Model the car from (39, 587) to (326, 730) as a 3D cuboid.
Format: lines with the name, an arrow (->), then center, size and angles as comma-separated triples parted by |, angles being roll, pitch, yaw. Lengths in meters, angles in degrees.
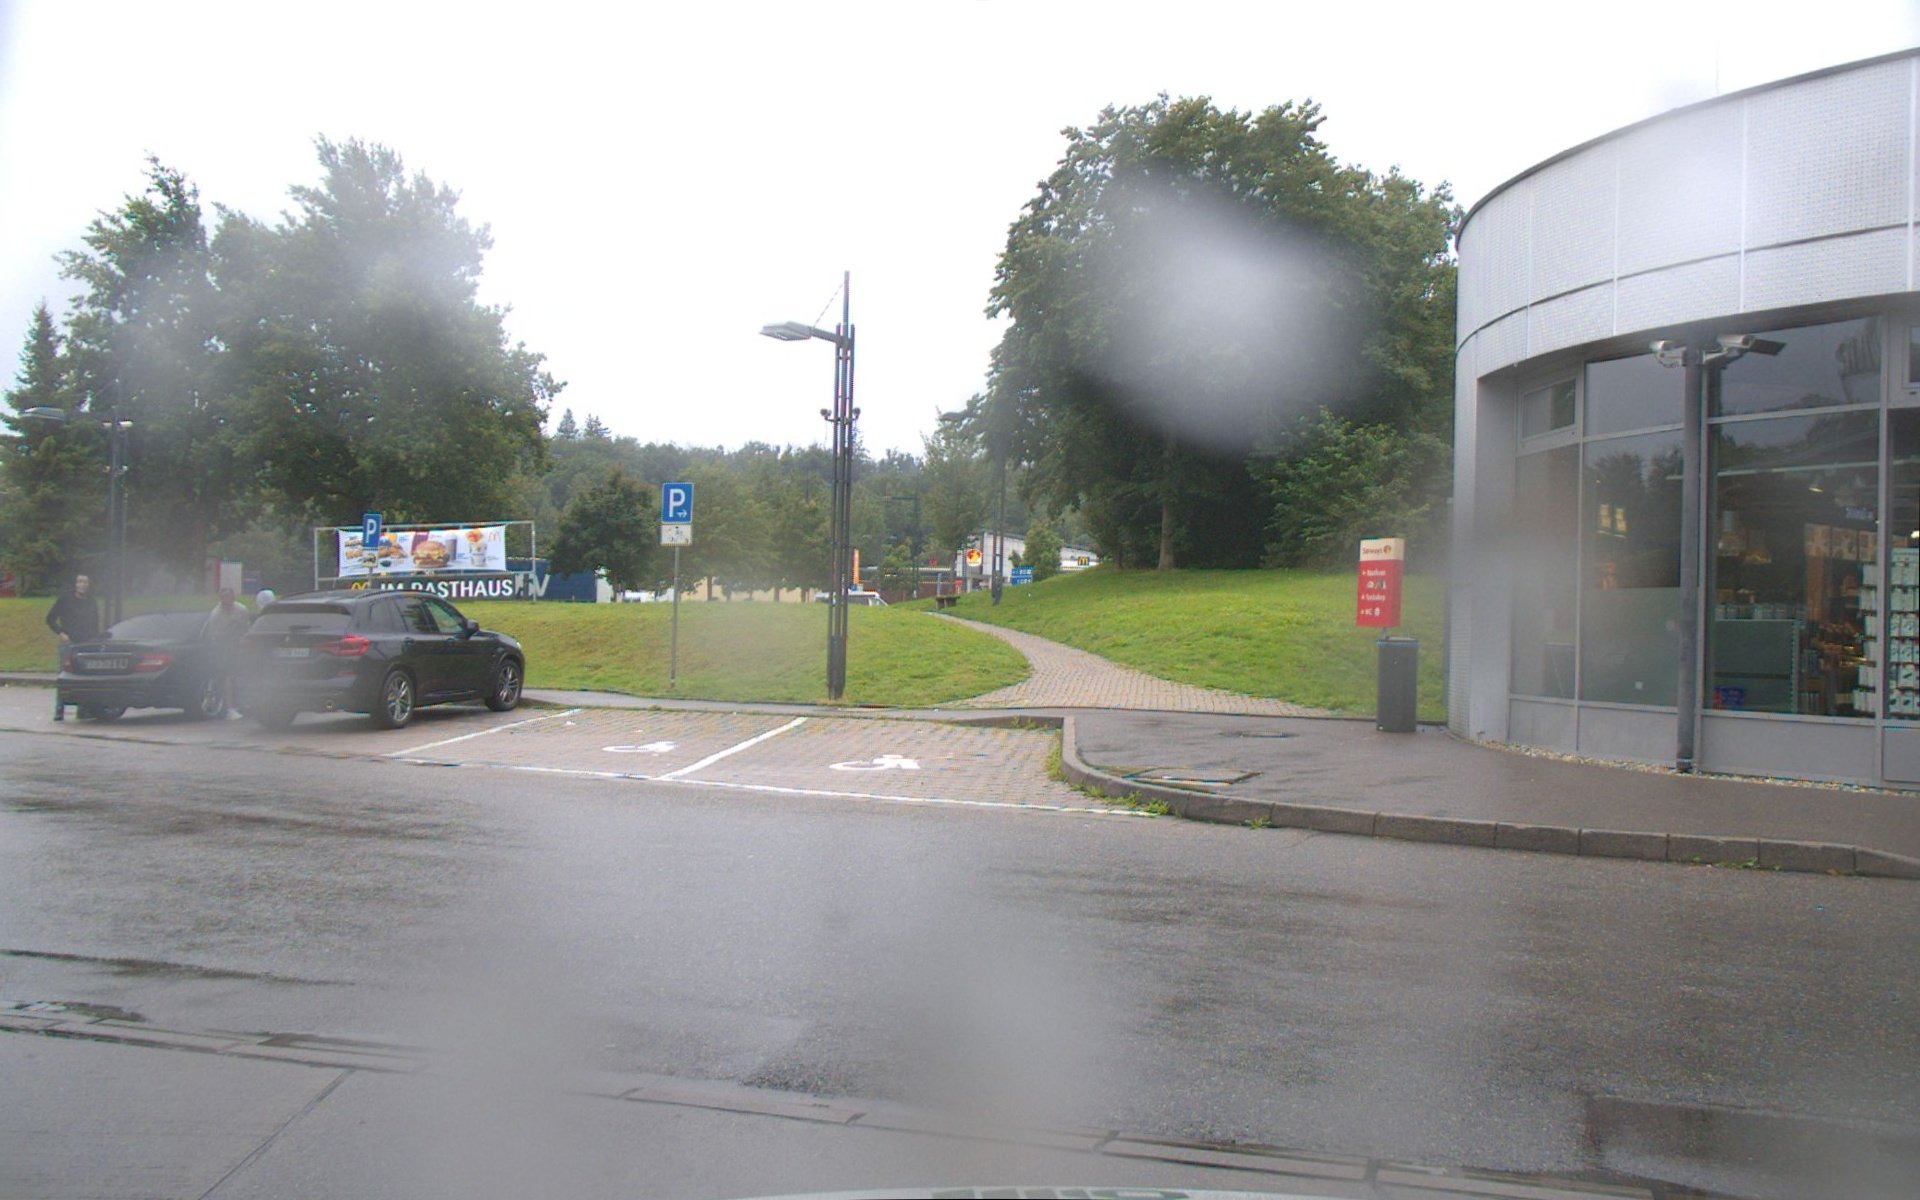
car -> -10.572, 0.718, 22.894 | 1.976, 1.741, 4.342 | -1, 1, -2

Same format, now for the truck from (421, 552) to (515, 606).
truck -> -27.972, -1.175, 94.261 | 2.142, 2.971, 5.384 | 1, 0, 24

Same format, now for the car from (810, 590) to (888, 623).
car -> -6.347, 0.374, 94.328 | 4.085, 1.814, 1.823 | 1, 0, -33

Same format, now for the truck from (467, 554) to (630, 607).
truck -> -24.921, -1.092, 101.276 | 2.142, 2.971, 13.092 | 1, 0, 23

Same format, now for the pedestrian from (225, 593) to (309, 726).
pedestrian -> -8.851, 0.748, 21.133 | 0.938, 1.660, 0.699 | 1, -1, -23

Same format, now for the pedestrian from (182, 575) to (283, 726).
pedestrian -> -9.486, 0.641, 21.589 | 0.689, 1.920, 0.952 | 1, -1, 31

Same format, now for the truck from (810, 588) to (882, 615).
truck -> -9.221, 0.136, 133.672 | 5.298, 2.049, 2.366 | 1, 0, 24

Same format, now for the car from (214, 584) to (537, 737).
car -> -7.364, 0.692, 21.376 | 1.973, 1.741, 4.347 | -1, 1, 11

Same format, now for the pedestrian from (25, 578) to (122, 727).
pedestrian -> -11.759, 0.686, 21.940 | 0.872, 1.920, 0.704 | 1, -1, 22
